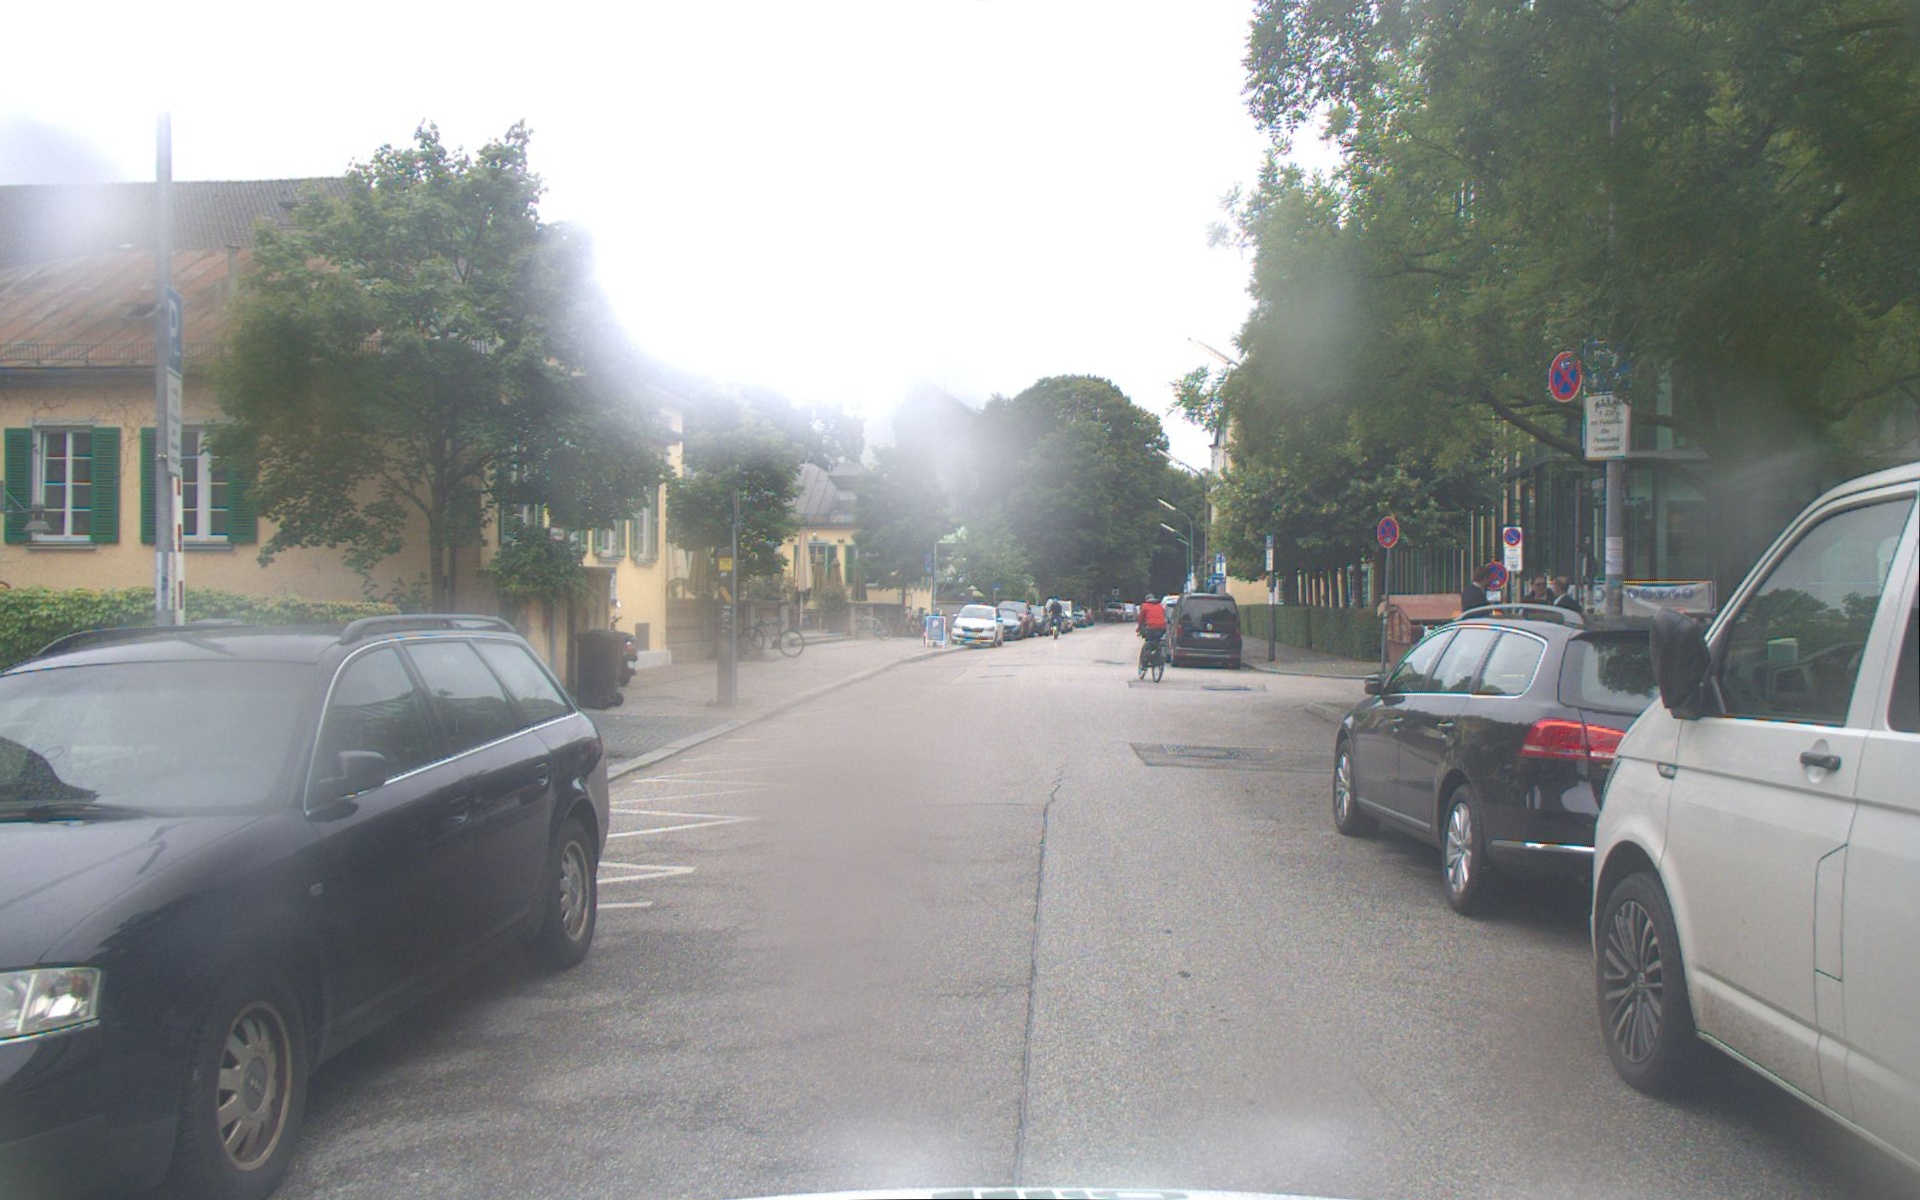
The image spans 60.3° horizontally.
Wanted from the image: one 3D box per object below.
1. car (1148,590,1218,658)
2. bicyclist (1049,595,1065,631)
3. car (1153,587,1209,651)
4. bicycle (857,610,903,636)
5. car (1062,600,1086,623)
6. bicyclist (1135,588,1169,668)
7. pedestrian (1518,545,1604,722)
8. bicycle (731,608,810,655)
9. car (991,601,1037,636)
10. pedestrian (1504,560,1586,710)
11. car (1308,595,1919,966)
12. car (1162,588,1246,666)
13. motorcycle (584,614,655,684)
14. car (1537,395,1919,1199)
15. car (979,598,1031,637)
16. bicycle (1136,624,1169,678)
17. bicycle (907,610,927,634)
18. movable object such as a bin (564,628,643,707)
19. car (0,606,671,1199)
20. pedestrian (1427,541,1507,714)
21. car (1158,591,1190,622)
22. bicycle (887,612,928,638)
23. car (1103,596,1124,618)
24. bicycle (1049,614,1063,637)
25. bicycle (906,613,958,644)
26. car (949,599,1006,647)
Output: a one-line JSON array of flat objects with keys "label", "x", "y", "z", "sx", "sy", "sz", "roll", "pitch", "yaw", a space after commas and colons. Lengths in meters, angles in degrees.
[{"label": "car", "x": 6.310, "y": 0.650, "z": 47.166, "sx": 1.823, "sy": 1.825, "sz": 4.512, "roll": 0, "pitch": 0, "yaw": 6}, {"label": "bicyclist", "x": 4.397, "y": 0.577, "z": 74.890, "sx": 0.727, "sy": 1.603, "sz": 0.977, "roll": 0, "pitch": 0, "yaw": 3}, {"label": "car", "x": 7.089, "y": 0.576, "z": 53.340, "sx": 1.712, "sy": 1.977, "sz": 4.230, "roll": 0, "pitch": 0, "yaw": 7}, {"label": "bicycle", "x": -2.980, "y": 0.874, "z": 61.686, "sx": 1.590, "sy": 0.942, "sz": 0.647, "roll": 1, "pitch": -2, "yaw": -22}, {"label": "car", "x": 8.871, "y": 0.896, "z": 128.153, "sx": 1.772, "sy": 1.712, "sz": 4.003, "roll": 0, "pitch": 0, "yaw": 5}, {"label": "bicyclist", "x": 3.732, "y": 0.547, "z": 32.124, "sx": 0.657, "sy": 1.524, "sz": 1.095, "roll": 0, "pitch": -2, "yaw": 7}, {"label": "pedestrian", "x": 7.593, "y": 0.418, "z": 20.933, "sx": 0.727, "sy": 2.172, "sz": 1.056, "roll": 0, "pitch": 0, "yaw": 3}, {"label": "bicycle", "x": -4.856, "y": 0.813, "z": 42.497, "sx": 1.890, "sy": 1.118, "sz": 0.615, "roll": 2, "pitch": 0, "yaw": 6}, {"label": "car", "x": 2.613, "y": 0.896, "z": 79.217, "sx": 1.951, "sy": 1.631, "sz": 4.002, "roll": 1, "pitch": -1, "yaw": 5}, {"label": "pedestrian", "x": 7.832, "y": 0.454, "z": 22.135, "sx": 0.730, "sy": 1.941, "sz": 1.051, "roll": -1, "pitch": -1, "yaw": 38}, {"label": "car", "x": 3.406, "y": 0.769, "z": 9.597, "sx": 1.735, "sy": 1.516, "sz": 4.974, "roll": 3, "pitch": 0, "yaw": 1}, {"label": "car", "x": 6.195, "y": 0.646, "z": 42.337, "sx": 1.723, "sy": 1.855, "sz": 4.141, "roll": 1, "pitch": 0, "yaw": 3}, {"label": "motorcycle", "x": -5.887, "y": 0.830, "z": 28.546, "sx": 0.552, "sy": 1.120, "sz": 1.817, "roll": 2, "pitch": 0, "yaw": -33}, {"label": "car", "x": 3.044, "y": 0.563, "z": 3.624, "sx": 1.807, "sy": 1.967, "sz": 5.274, "roll": 3, "pitch": 0, "yaw": 2}, {"label": "car", "x": 2.044, "y": 0.746, "z": 74.158, "sx": 1.951, "sy": 1.677, "sz": 4.658, "roll": 0, "pitch": 0, "yaw": 6}, {"label": "bicycle", "x": 3.739, "y": 0.983, "z": 32.213, "sx": 0.608, "sy": 1.022, "sz": 2.141, "roll": 0, "pitch": -2, "yaw": 6}, {"label": "bicycle", "x": -1.898, "y": 0.974, "z": 73.518, "sx": 0.608, "sy": 1.022, "sz": 1.620, "roll": 1, "pitch": -1, "yaw": 9}, {"label": "movable object such as a bin", "x": -5.066, "y": 0.954, "z": 23.548, "sx": 0.916, "sy": 1.082, "sz": 0.840, "roll": 0, "pitch": 0, "yaw": 1}, {"label": "car", "x": -2.586, "y": 0.801, "z": 5.752, "sx": 1.951, "sy": 1.517, "sz": 4.886, "roll": -1, "pitch": 0, "yaw": 4}, {"label": "pedestrian", "x": 6.521, "y": 0.346, "z": 21.305, "sx": 0.727, "sy": 2.172, "sz": 1.056, "roll": 0, "pitch": 0, "yaw": 3}, {"label": "car", "x": 14.986, "y": 0.421, "z": 116.079, "sx": 1.952, "sy": 2.096, "sz": 4.626, "roll": 1, "pitch": 0, "yaw": 4}, {"label": "bicycle", "x": -2.170, "y": 1.033, "z": 68.089, "sx": 1.597, "sy": 1.022, "sz": 0.617, "roll": 1, "pitch": -2, "yaw": -31}, {"label": "car", "x": 15.374, "y": 0.697, "z": 165.551, "sx": 1.952, "sy": 2.135, "sz": 4.003, "roll": 3, "pitch": 0, "yaw": 5}, {"label": "bicycle", "x": 4.351, "y": 1.145, "z": 74.761, "sx": 0.608, "sy": 1.022, "sz": 2.141, "roll": 0, "pitch": 0, "yaw": 2}, {"label": "bicycle", "x": -0.953, "y": 0.982, "z": 57.192, "sx": 0.611, "sy": 1.021, "sz": 2.131, "roll": 3, "pitch": 1, "yaw": 36}, {"label": "car", "x": 0.688, "y": 0.840, "z": 61.619, "sx": 1.697, "sy": 1.609, "sz": 3.790, "roll": 3, "pitch": 0, "yaw": 6}]
